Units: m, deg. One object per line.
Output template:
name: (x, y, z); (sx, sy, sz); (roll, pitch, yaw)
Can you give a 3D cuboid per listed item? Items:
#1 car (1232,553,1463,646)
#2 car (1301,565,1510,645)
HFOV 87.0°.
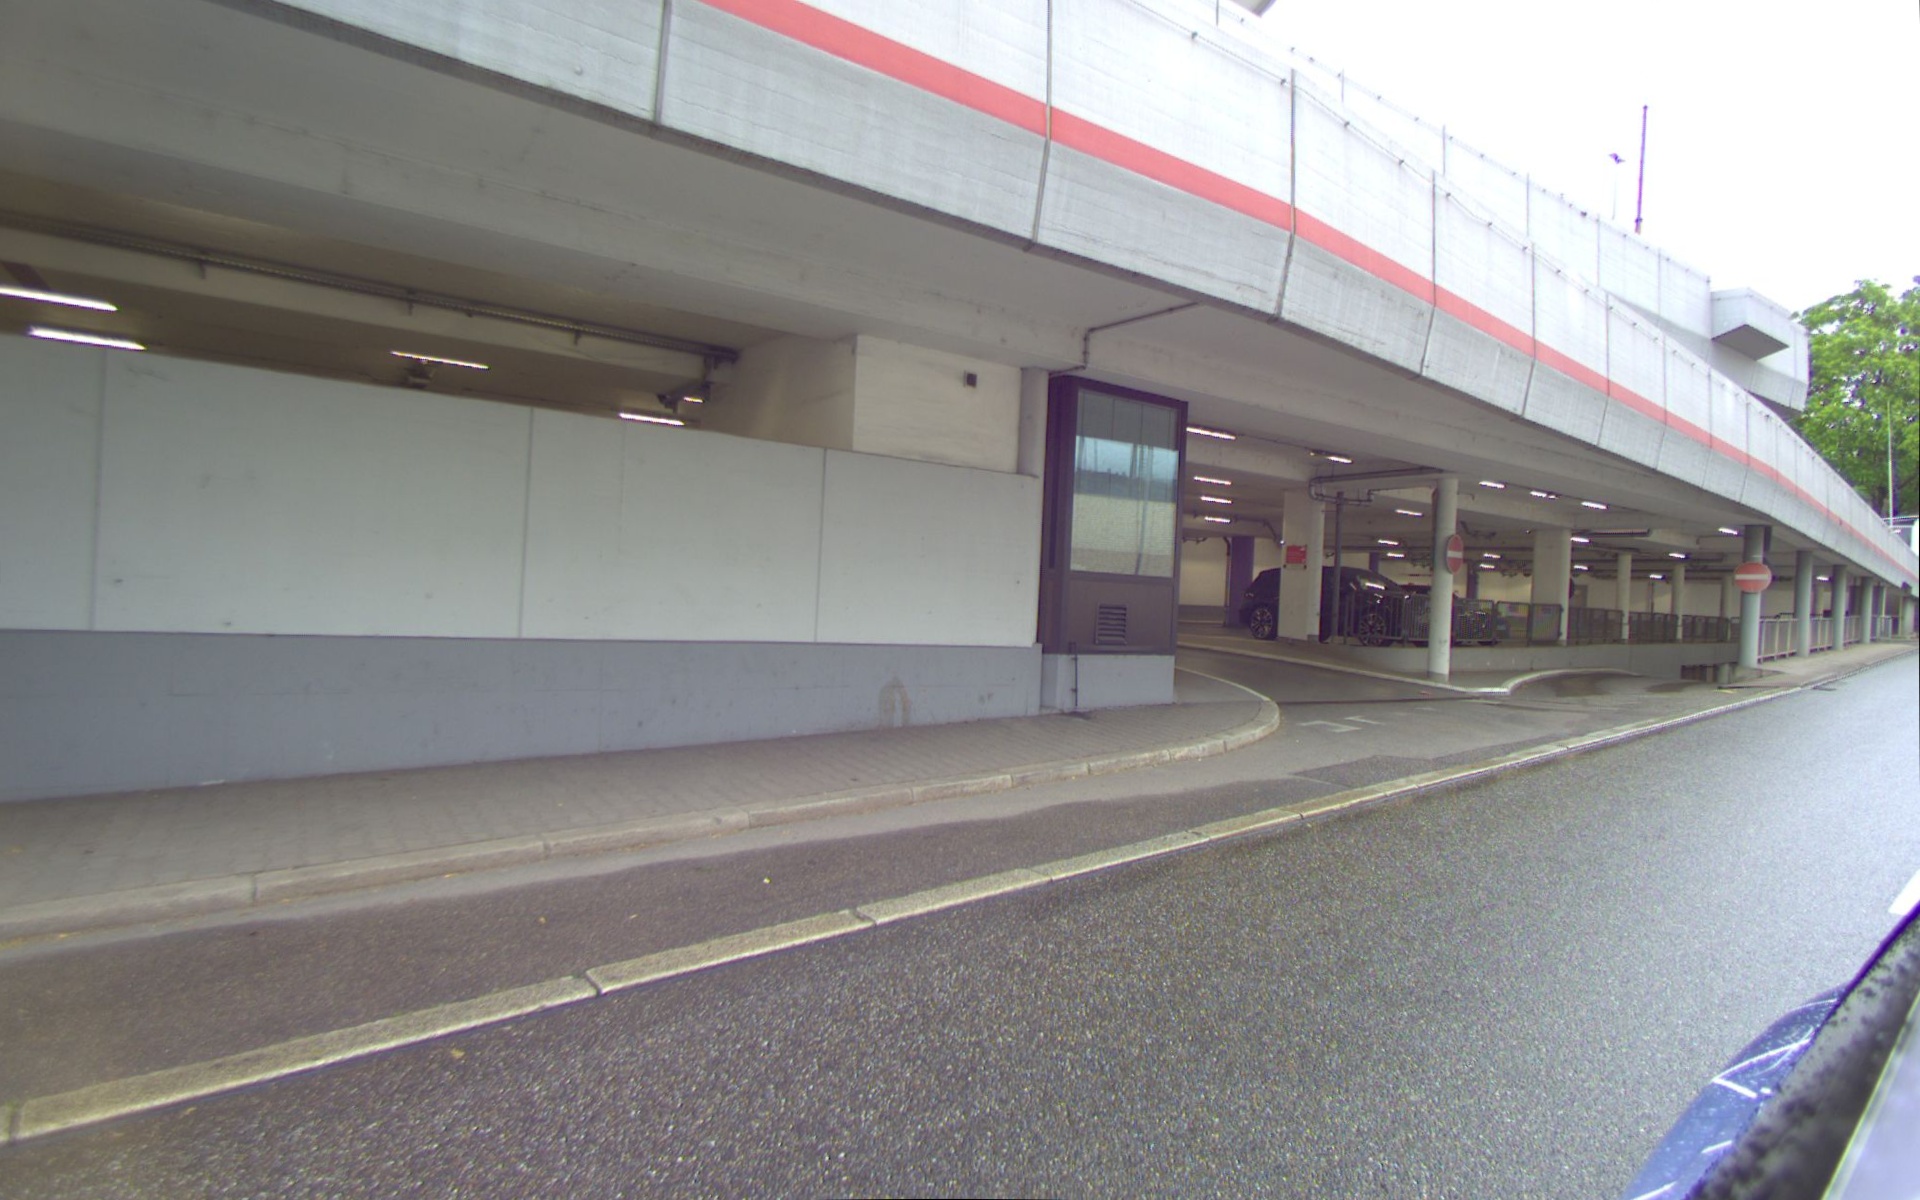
car: (8.173, -0.021, 21.727); (1.960, 1.682, 4.261); (5, -2, -31)
car: (10.771, 0.087, 24.768); (1.960, 1.682, 4.261); (5, -2, -31)
